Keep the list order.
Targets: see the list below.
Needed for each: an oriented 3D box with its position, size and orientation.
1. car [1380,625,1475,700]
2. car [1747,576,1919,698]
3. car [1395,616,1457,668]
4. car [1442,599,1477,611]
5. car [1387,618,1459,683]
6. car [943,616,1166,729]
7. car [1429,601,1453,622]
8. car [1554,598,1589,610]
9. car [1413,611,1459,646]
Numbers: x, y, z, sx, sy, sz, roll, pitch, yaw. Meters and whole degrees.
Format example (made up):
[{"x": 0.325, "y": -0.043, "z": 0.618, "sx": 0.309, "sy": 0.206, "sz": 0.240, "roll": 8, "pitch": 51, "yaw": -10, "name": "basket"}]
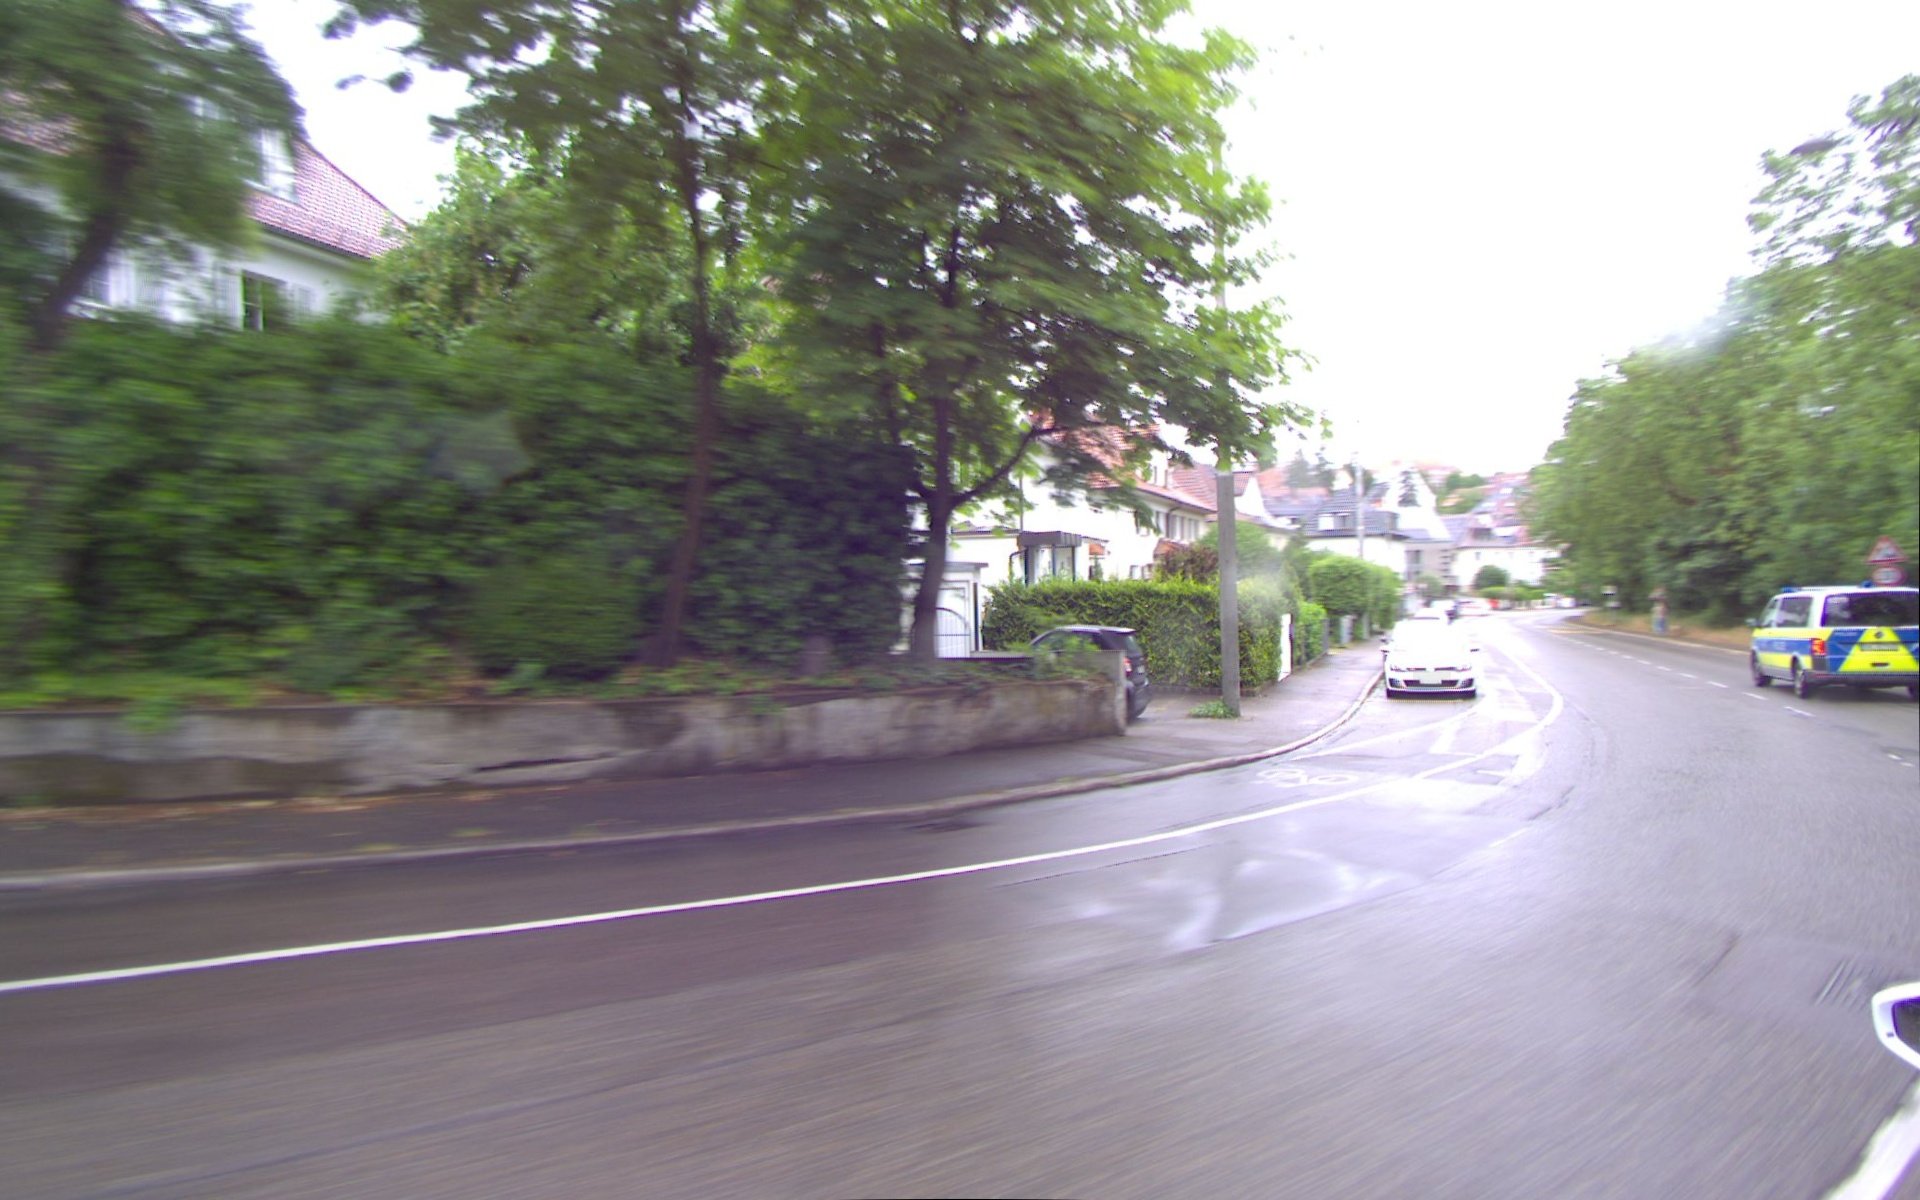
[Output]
[{"x": 10.295, "y": 1.314, "z": 22.209, "sx": 1.705, "sy": 1.441, "sz": 4.280, "roll": -1, "pitch": -1, "yaw": 24, "name": "car"}, {"x": 16.548, "y": 0.674, "z": 18.982, "sx": 1.964, "sy": 2.040, "sz": 4.394, "roll": -1, "pitch": -2, "yaw": 29, "name": "car"}, {"x": 14.722, "y": 1.286, "z": 31.805, "sx": 1.671, "sy": 1.487, "sz": 3.708, "roll": 0, "pitch": 0, "yaw": 24, "name": "car"}, {"x": 61.154, "y": 0.585, "z": 122.964, "sx": 1.807, "sy": 1.463, "sz": 3.991, "roll": 0, "pitch": 1, "yaw": -12, "name": "car"}, {"x": 12.648, "y": 1.305, "z": 27.506, "sx": 1.671, "sy": 1.545, "sz": 4.419, "roll": 0, "pitch": 0, "yaw": 24, "name": "car"}, {"x": 1.601, "y": 1.134, "z": 16.812, "sx": 3.282, "sy": 1.540, "sz": 1.822, "roll": 3, "pitch": 0, "yaw": 21, "name": "car"}, {"x": 41.688, "y": 0.989, "z": 86.976, "sx": 1.728, "sy": 1.680, "sz": 4.398, "roll": -2, "pitch": 0, "yaw": 28, "name": "car"}, {"x": 87.184, "y": 0.505, "z": 143.228, "sx": 1.742, "sy": 1.506, "sz": 3.962, "roll": 3, "pitch": 0, "yaw": -34, "name": "car"}, {"x": 21.381, "y": 1.253, "z": 45.248, "sx": 1.661, "sy": 1.437, "sz": 4.212, "roll": -2, "pitch": 0, "yaw": 23, "name": "car"}]
